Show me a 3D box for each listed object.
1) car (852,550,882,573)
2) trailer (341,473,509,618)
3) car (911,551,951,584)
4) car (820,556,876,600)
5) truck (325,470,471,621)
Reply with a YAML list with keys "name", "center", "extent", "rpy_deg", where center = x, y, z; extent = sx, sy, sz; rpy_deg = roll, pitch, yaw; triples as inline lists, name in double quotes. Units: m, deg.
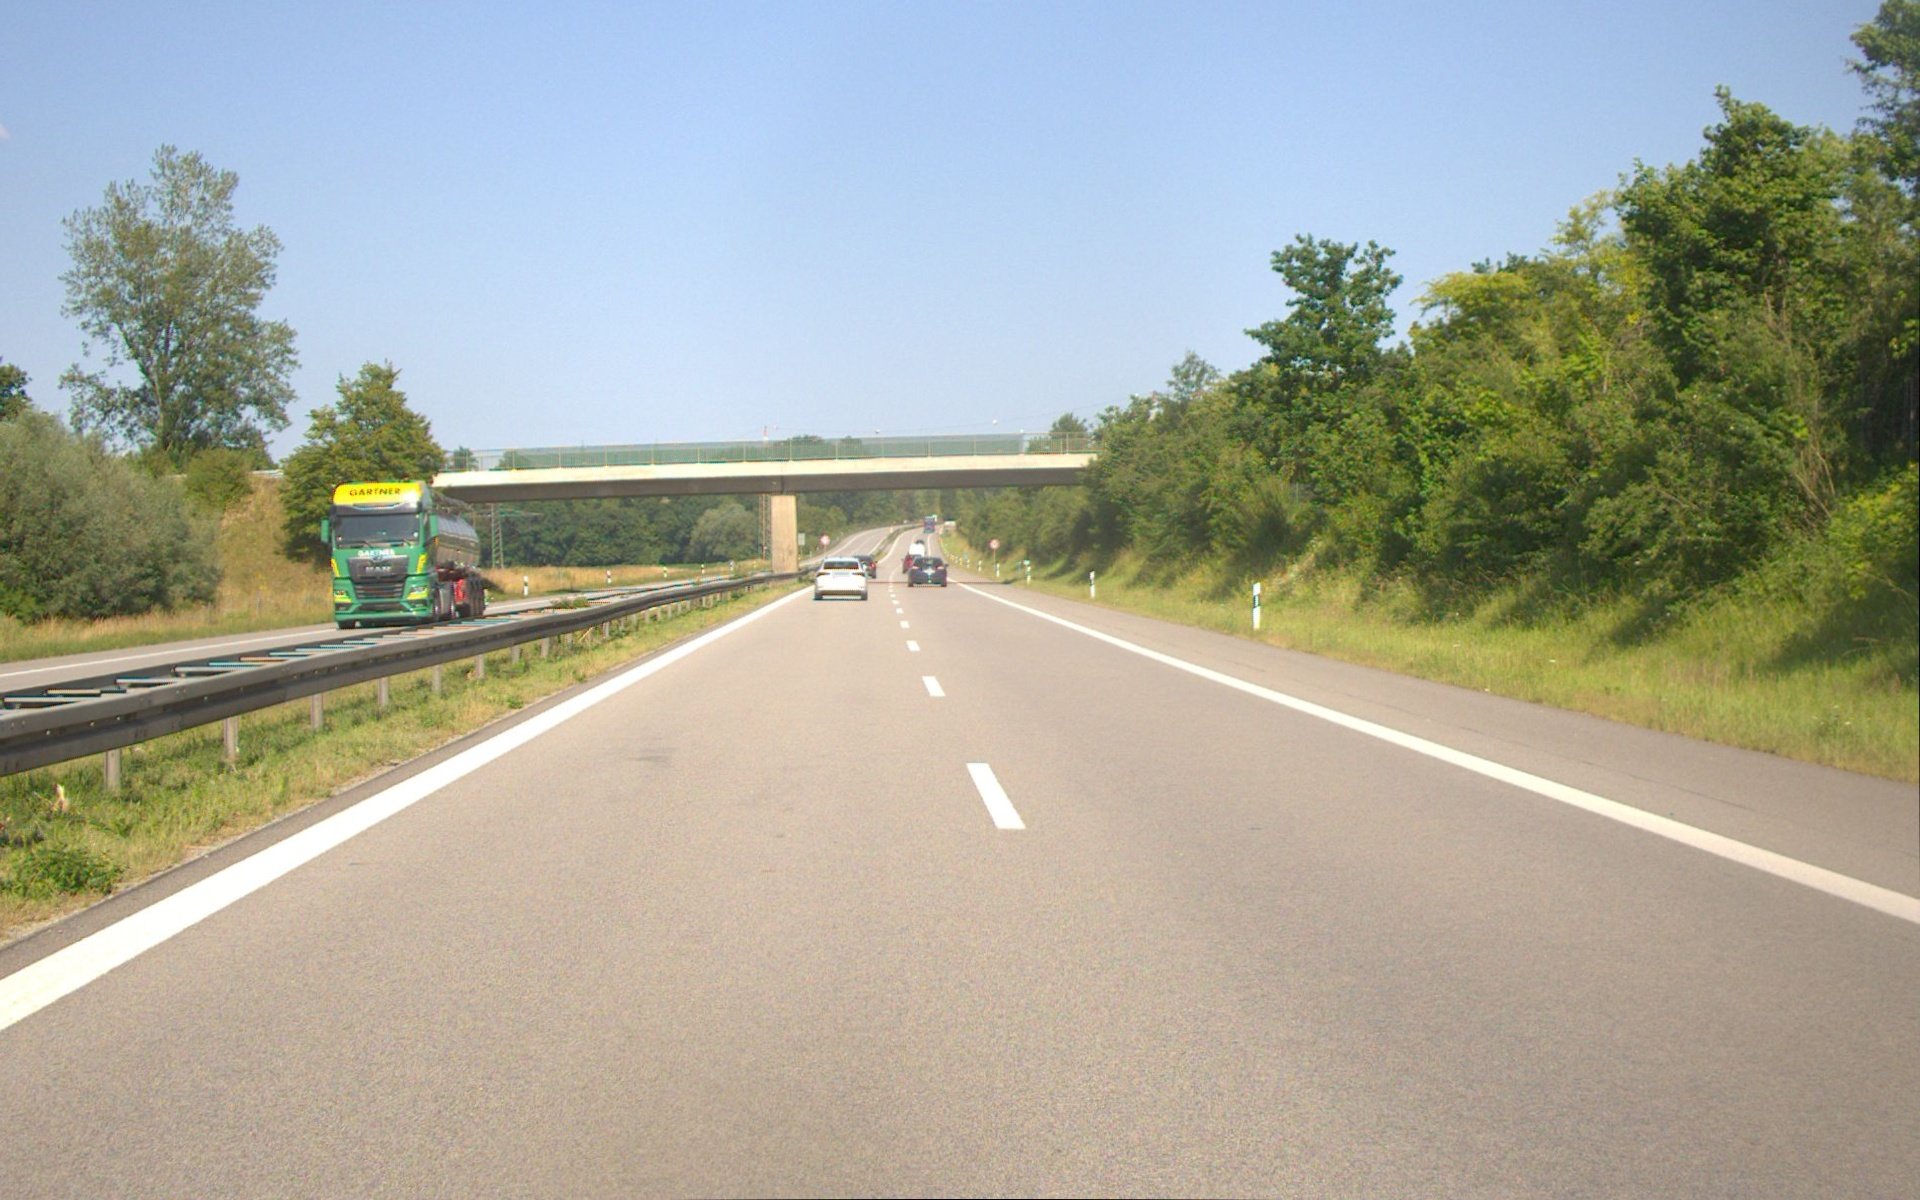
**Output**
- name: "car"
  center: [-5.909, -2.425, 218.093]
  extent: [1.843, 1.431, 4.000]
  rpy_deg: [1, 1, -2]
- name: "trailer"
  center: [-14.775, -1.488, 95.890]
  extent: [2.980, 3.718, 12.421]
  rpy_deg: [-2, 1, -2]
- name: "car"
  center: [-1.392, -1.539, 163.971]
  extent: [1.843, 1.515, 4.000]
  rpy_deg: [1, 1, -2]
- name: "car"
  center: [-3.746, -0.753, 115.552]
  extent: [1.843, 1.411, 4.000]
  rpy_deg: [1, 1, -2]
- name: "truck"
  center: [-14.574, -1.409, 89.515]
  extent: [2.955, 3.718, 5.569]
  rpy_deg: [-2, 1, -2]
